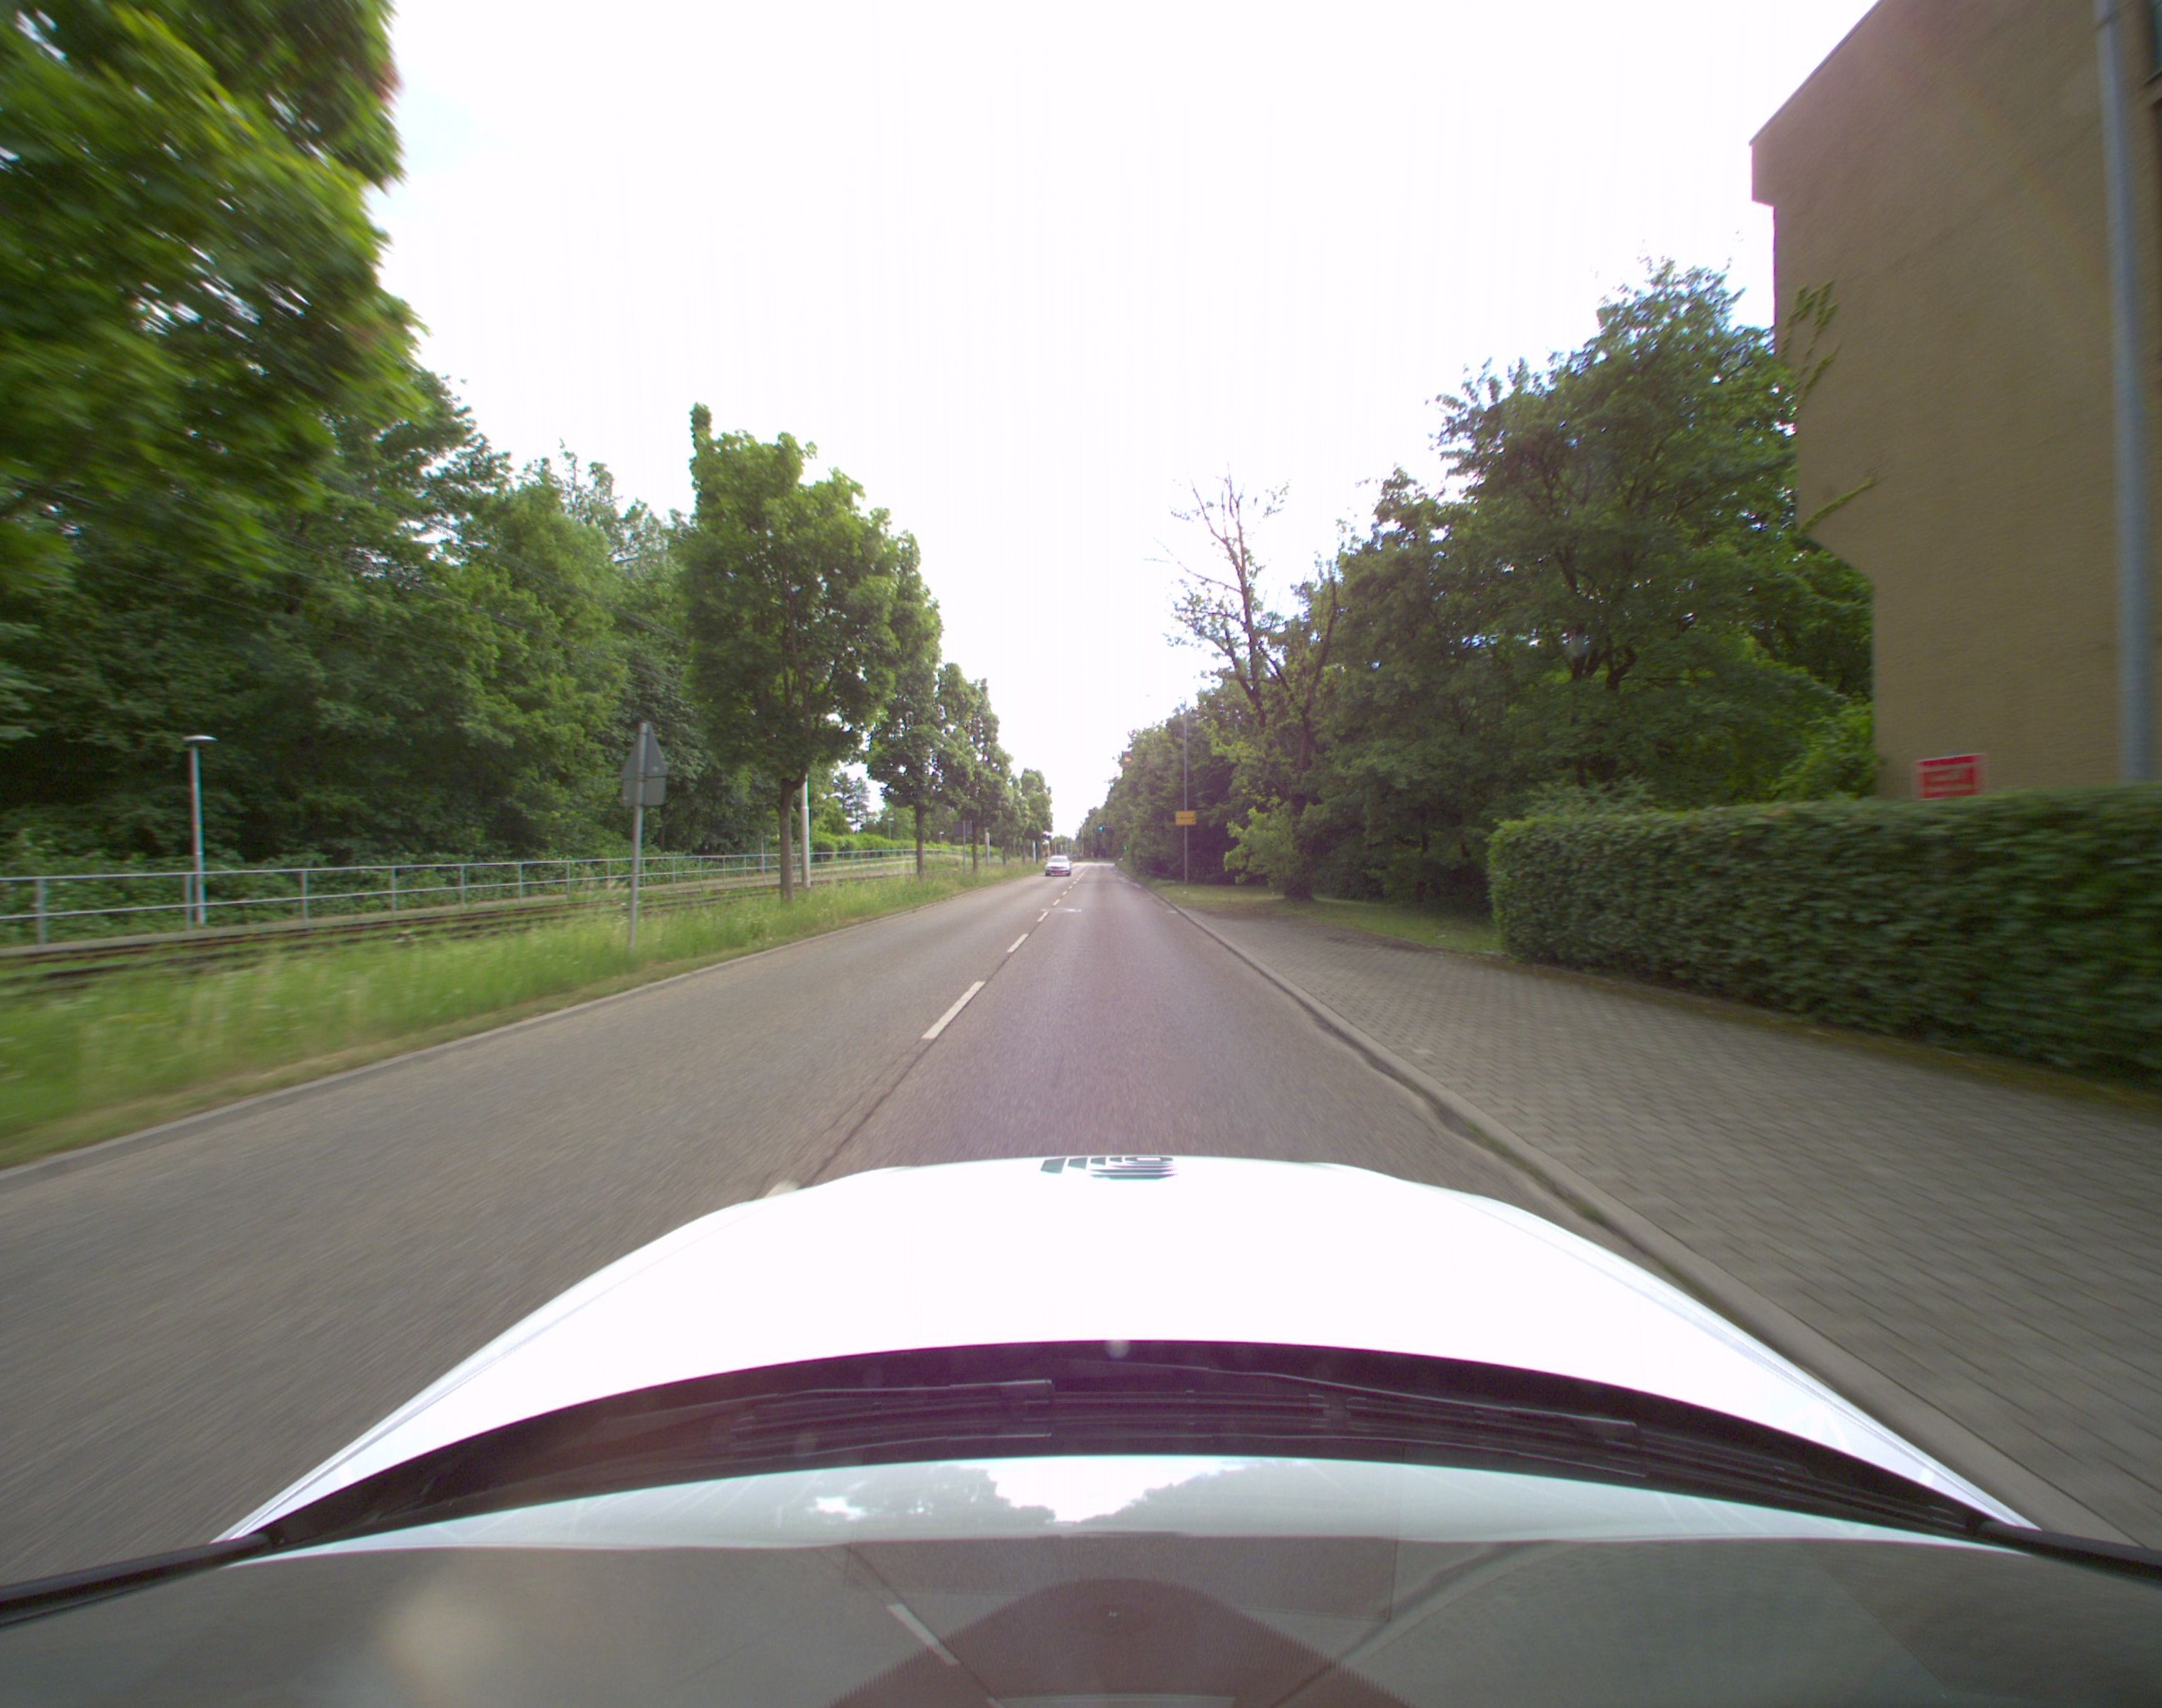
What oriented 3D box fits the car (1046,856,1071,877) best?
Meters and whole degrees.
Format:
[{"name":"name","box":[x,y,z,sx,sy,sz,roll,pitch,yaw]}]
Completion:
[{"name":"car","box":[-1.674,0.900,59.775,1.769,1.469,4.239,0,0,-2]}]
